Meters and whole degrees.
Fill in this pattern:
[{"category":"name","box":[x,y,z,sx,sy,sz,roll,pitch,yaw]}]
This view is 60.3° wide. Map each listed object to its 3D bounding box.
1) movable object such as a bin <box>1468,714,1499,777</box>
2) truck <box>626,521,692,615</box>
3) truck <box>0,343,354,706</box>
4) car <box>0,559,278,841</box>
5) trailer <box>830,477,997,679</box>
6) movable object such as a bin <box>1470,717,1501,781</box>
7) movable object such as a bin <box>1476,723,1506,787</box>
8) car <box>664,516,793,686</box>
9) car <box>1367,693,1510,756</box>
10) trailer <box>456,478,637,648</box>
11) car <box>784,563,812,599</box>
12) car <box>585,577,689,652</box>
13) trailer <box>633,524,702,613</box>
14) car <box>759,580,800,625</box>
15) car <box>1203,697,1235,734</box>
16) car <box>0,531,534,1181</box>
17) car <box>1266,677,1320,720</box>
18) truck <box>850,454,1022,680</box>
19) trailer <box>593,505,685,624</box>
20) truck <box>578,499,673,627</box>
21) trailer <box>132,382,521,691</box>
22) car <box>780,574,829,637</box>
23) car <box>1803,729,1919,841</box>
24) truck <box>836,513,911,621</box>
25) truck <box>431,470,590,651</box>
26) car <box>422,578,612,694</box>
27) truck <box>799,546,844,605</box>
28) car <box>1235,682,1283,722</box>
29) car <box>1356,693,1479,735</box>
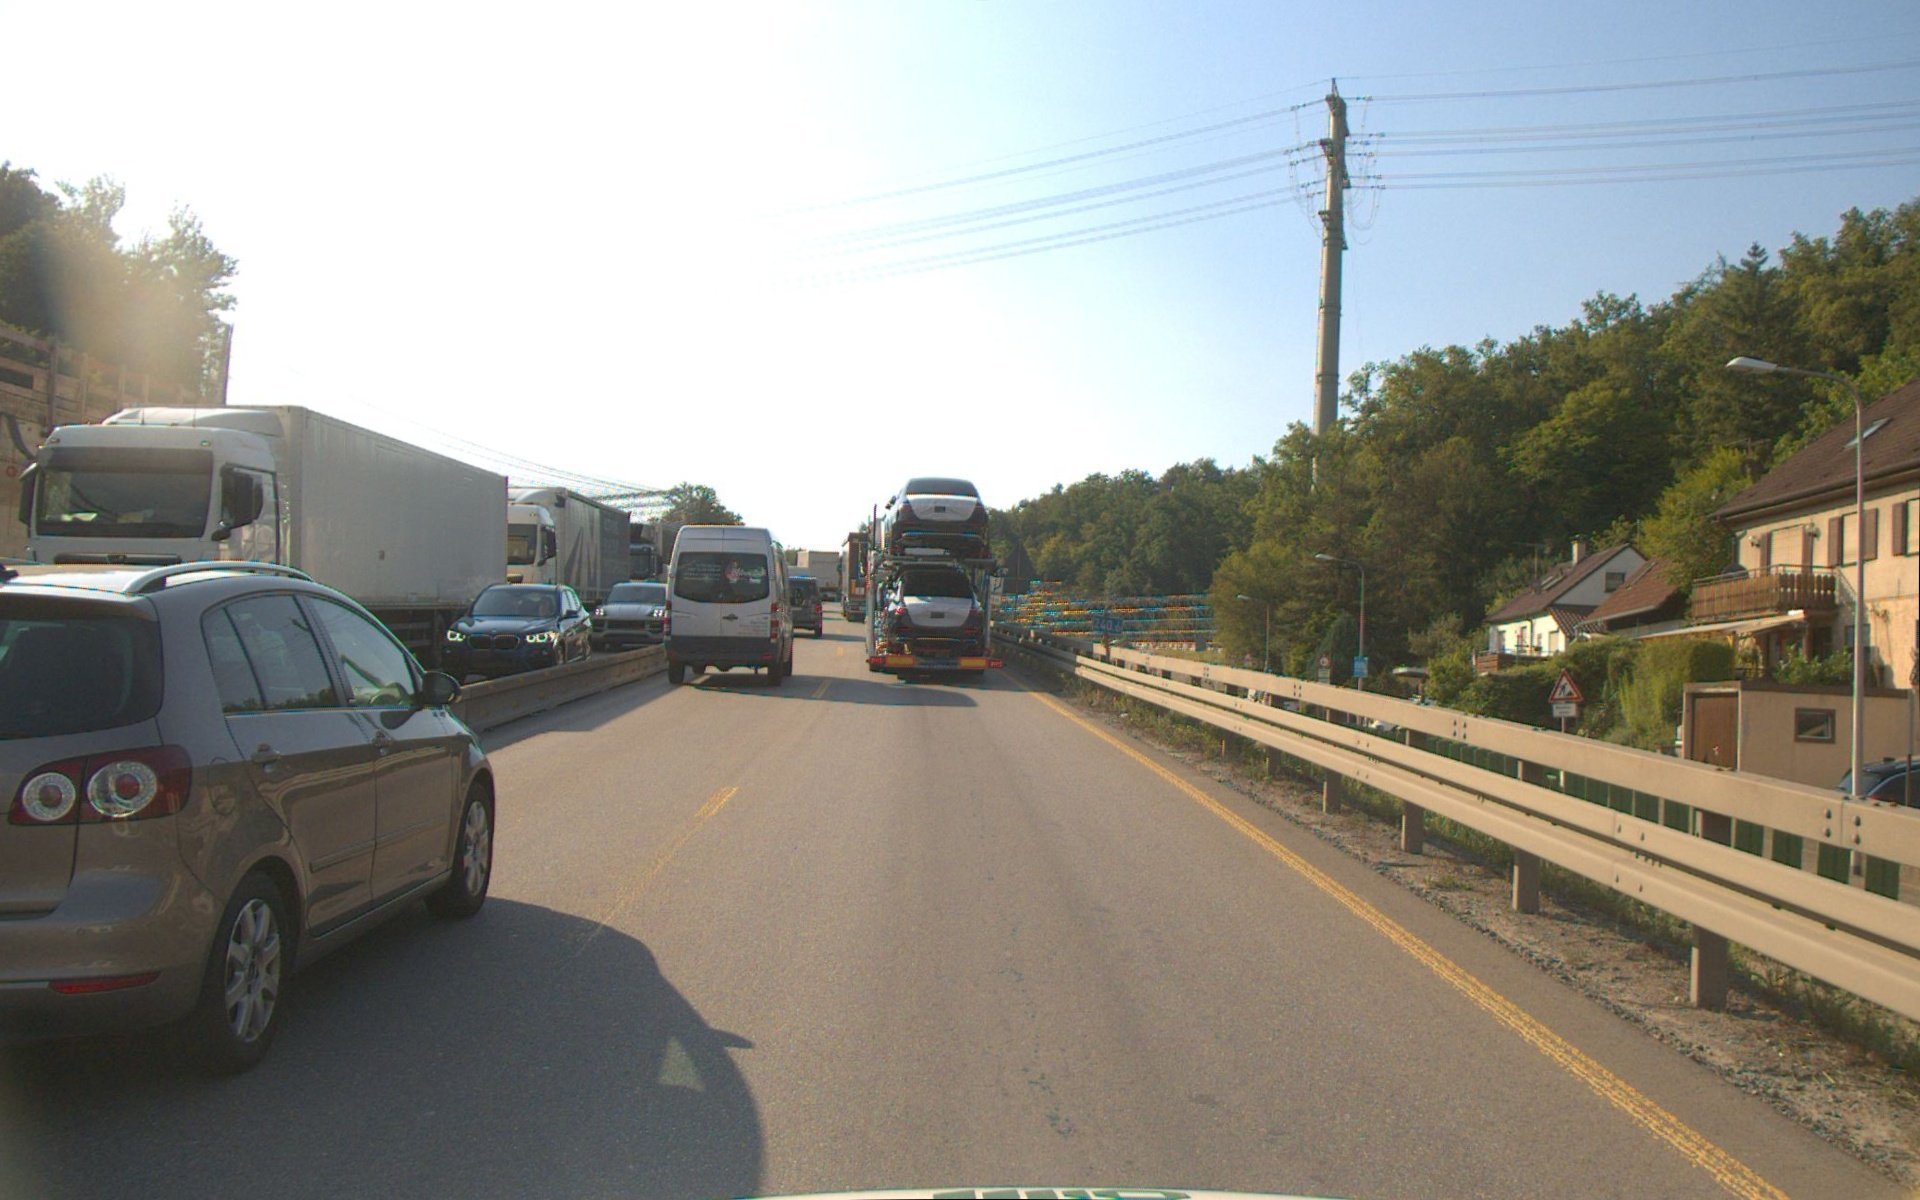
[{"category":"movable object such as a bin","box":[15.792,4.381,49.900,0.519,1.798,0.416,11,-1,7]},{"category":"truck","box":[-13.864,-1.439,76.377,2.697,4.187,5.023,0,0,-7]},{"category":"truck","box":[-10.586,-0.912,22.934,2.406,4.391,5.471,1,0,-2]},{"category":"car","box":[-6.321,0.563,11.178,1.665,1.603,4.368,1,0,-1]},{"category":"trailer","box":[-1.535,-0.422,41.213,2.819,4.063,15.257,1,0,-6]},{"category":"movable object such as a bin","box":[15.728,4.451,49.473,0.525,1.798,0.409,11,-1,7]},{"category":"movable object such as a bin","box":[15.608,4.542,48.606,0.480,1.798,0.414,11,-1,7]},{"category":"car","box":[-3.970,0.026,29.006,1.940,2.731,4.143,1,0,-4]},{"category":"car","box":[19.962,5.182,69.138,5.354,2.303,2.000,3,-2,1]},{"category":"trailer","box":[-11.874,-0.918,49.080,2.721,4.277,13.822,1,0,-4]},{"category":"car","box":[-9.741,-1.113,99.162,1.499,2.049,3.994,3,-1,-6]},{"category":"car","box":[-8.246,0.373,42.598,1.969,1.684,4.969,4,-1,-4]},{"category":"trailer","box":[-14.788,-1.513,84.363,2.663,4.194,12.475,0,0,-6]},{"category":"car","box":[-8.423,0.127,77.043,1.798,1.998,4.892,1,-1,-6]},{"category":"car","box":[12.808,5.685,81.811,1.493,1.486,4.271,1,0,8]},{"category":"car","box":[-2.951,0.634,6.181,1.666,1.615,4.146,1,0,-1]},{"category":"car","box":[16.131,4.756,80.323,1.954,1.951,4.865,1,-2,4]},{"category":"truck","box":[-0.610,-0.580,32.838,2.815,4.049,5.763,1,0,-7]},{"category":"trailer","box":[-13.148,-1.402,68.319,2.855,4.543,7.145,2,0,-5]},{"category":"truck","box":[-12.707,-1.365,63.226,2.863,4.593,5.022,2,0,-5]},{"category":"trailer","box":[-10.892,-0.882,30.580,2.406,4.395,13.768,1,0,-3]},{"category":"car","box":[-5.396,0.200,57.870,1.498,2.049,3.996,3,-1,-4]},{"category":"car","box":[16.625,2.916,27.193,4.401,1.552,2.000,-4,-3,2]},{"category":"truck","box":[-4.315,-1.630,80.232,3.165,4.758,11.684,2,1,-5]},{"category":"truck","box":[-11.453,-0.938,42.702,2.710,4.277,6.110,1,0,-4]},{"category":"car","box":[-7.184,0.569,27.331,1.842,1.635,4.730,3,-1,-1]},{"category":"truck","box":[-11.822,-2.113,141.009,3.577,4.758,11.684,2,1,-5]},{"category":"car","box":[16.335,5.575,90.574,1.824,2.021,5.052,1,-2,2]},{"category":"car","box":[20.366,5.066,73.704,4.985,1.584,1.716,2,-2,1]}]
